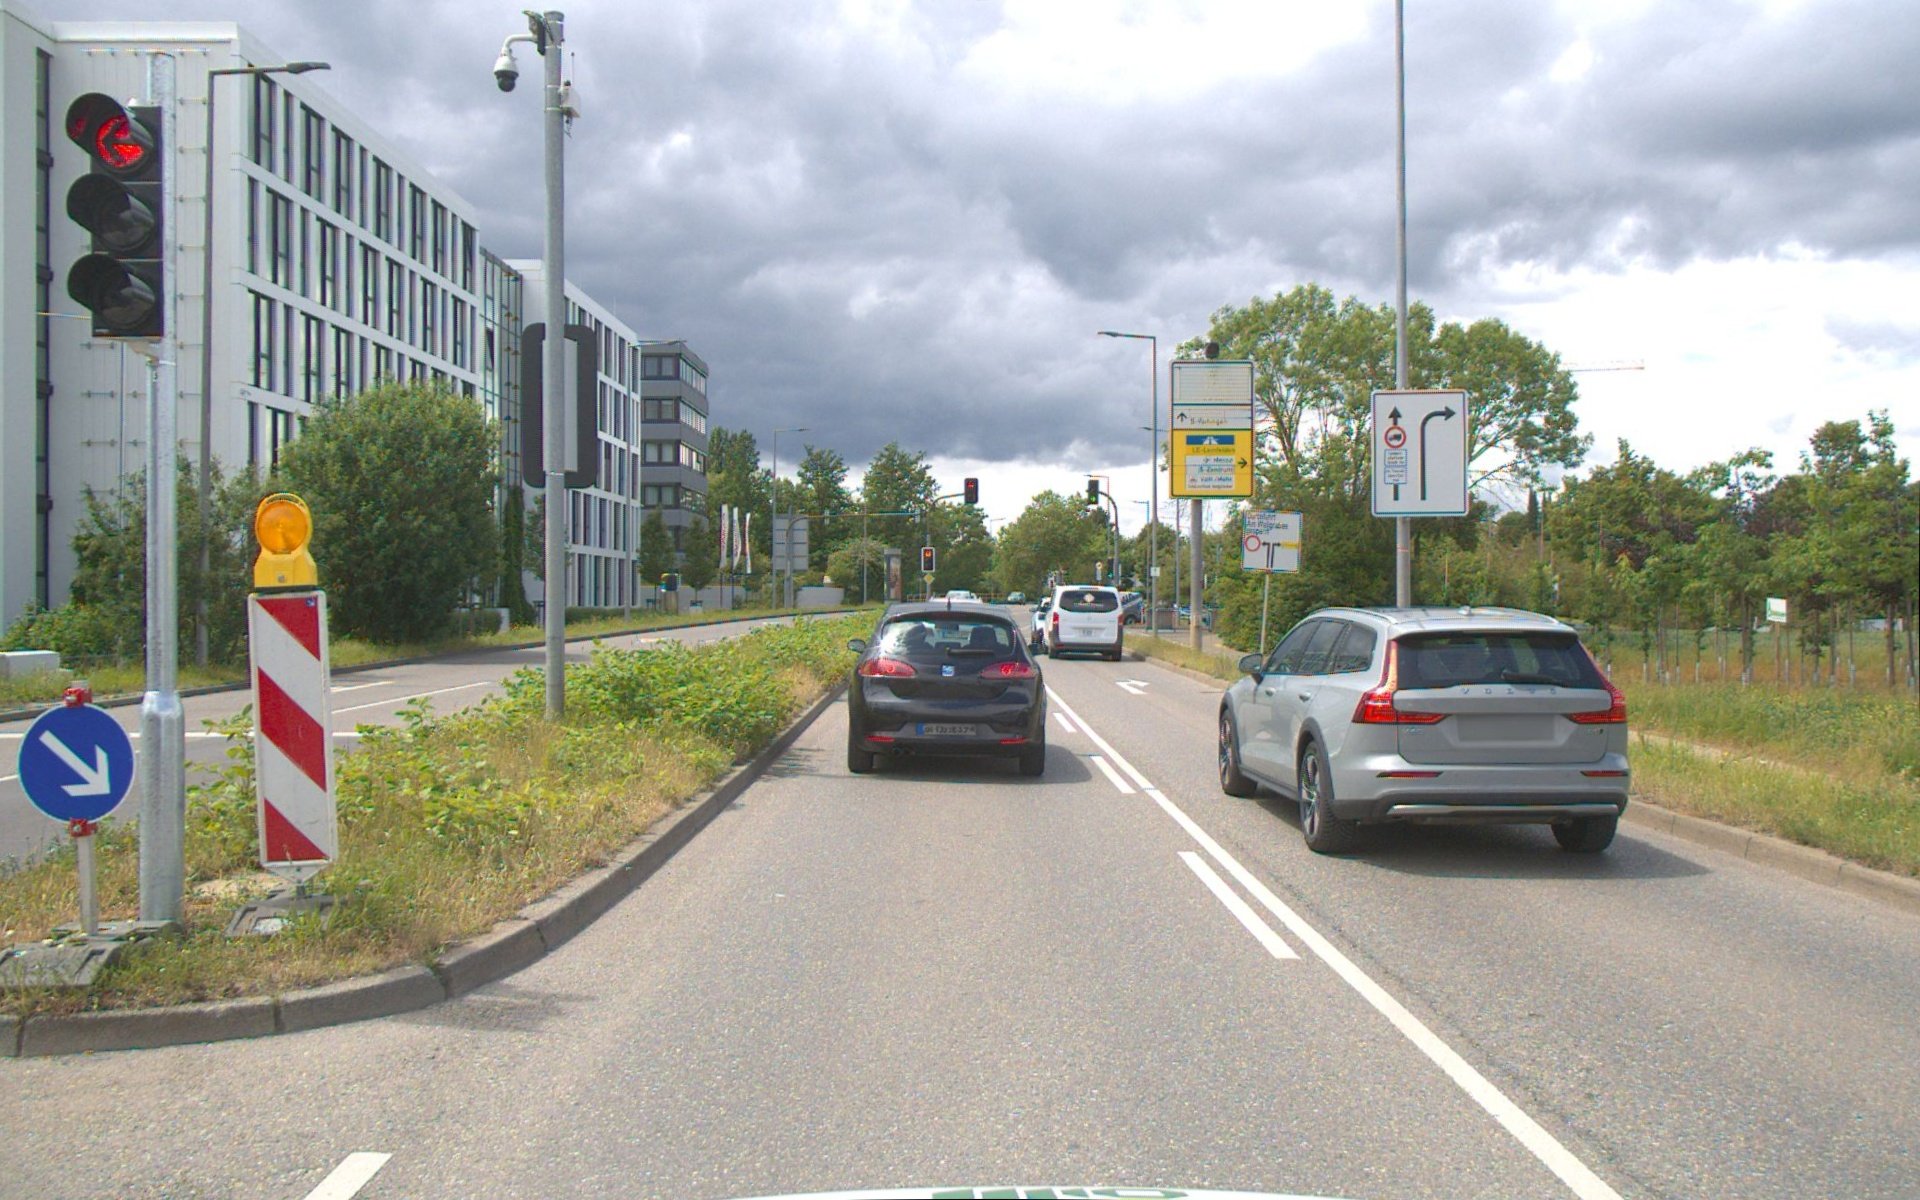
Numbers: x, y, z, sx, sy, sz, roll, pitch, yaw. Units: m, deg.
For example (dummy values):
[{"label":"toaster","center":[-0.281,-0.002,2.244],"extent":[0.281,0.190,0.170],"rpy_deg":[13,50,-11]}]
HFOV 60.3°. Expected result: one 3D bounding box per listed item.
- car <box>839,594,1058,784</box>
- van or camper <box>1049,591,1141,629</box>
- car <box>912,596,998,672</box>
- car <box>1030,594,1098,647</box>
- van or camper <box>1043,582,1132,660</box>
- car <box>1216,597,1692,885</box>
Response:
[{"label":"car","center":[-0.043,0.708,15.161],"extent":[1.736,1.477,3.583],"rpy_deg":[2,0,2]},{"label":"van or camper","center":[7.394,0.547,90.917],"extent":[4.713,2.049,1.995],"rpy_deg":[0,0,-10]},{"label":"car","center":[-0.115,0.672,35.129],"extent":[1.737,1.517,3.582],"rpy_deg":[0,0,-1]},{"label":"car","center":[3.367,0.656,54.218],"extent":[1.953,1.660,3.999],"rpy_deg":[0,0,-1]},{"label":"van or camper","center":[3.266,0.516,43.288],"extent":[1.953,1.892,4.943],"rpy_deg":[0,0,0]},{"label":"car","center":[3.045,0.762,11.256],"extent":[1.825,1.545,4.445],"rpy_deg":[0,0,-1]}]
